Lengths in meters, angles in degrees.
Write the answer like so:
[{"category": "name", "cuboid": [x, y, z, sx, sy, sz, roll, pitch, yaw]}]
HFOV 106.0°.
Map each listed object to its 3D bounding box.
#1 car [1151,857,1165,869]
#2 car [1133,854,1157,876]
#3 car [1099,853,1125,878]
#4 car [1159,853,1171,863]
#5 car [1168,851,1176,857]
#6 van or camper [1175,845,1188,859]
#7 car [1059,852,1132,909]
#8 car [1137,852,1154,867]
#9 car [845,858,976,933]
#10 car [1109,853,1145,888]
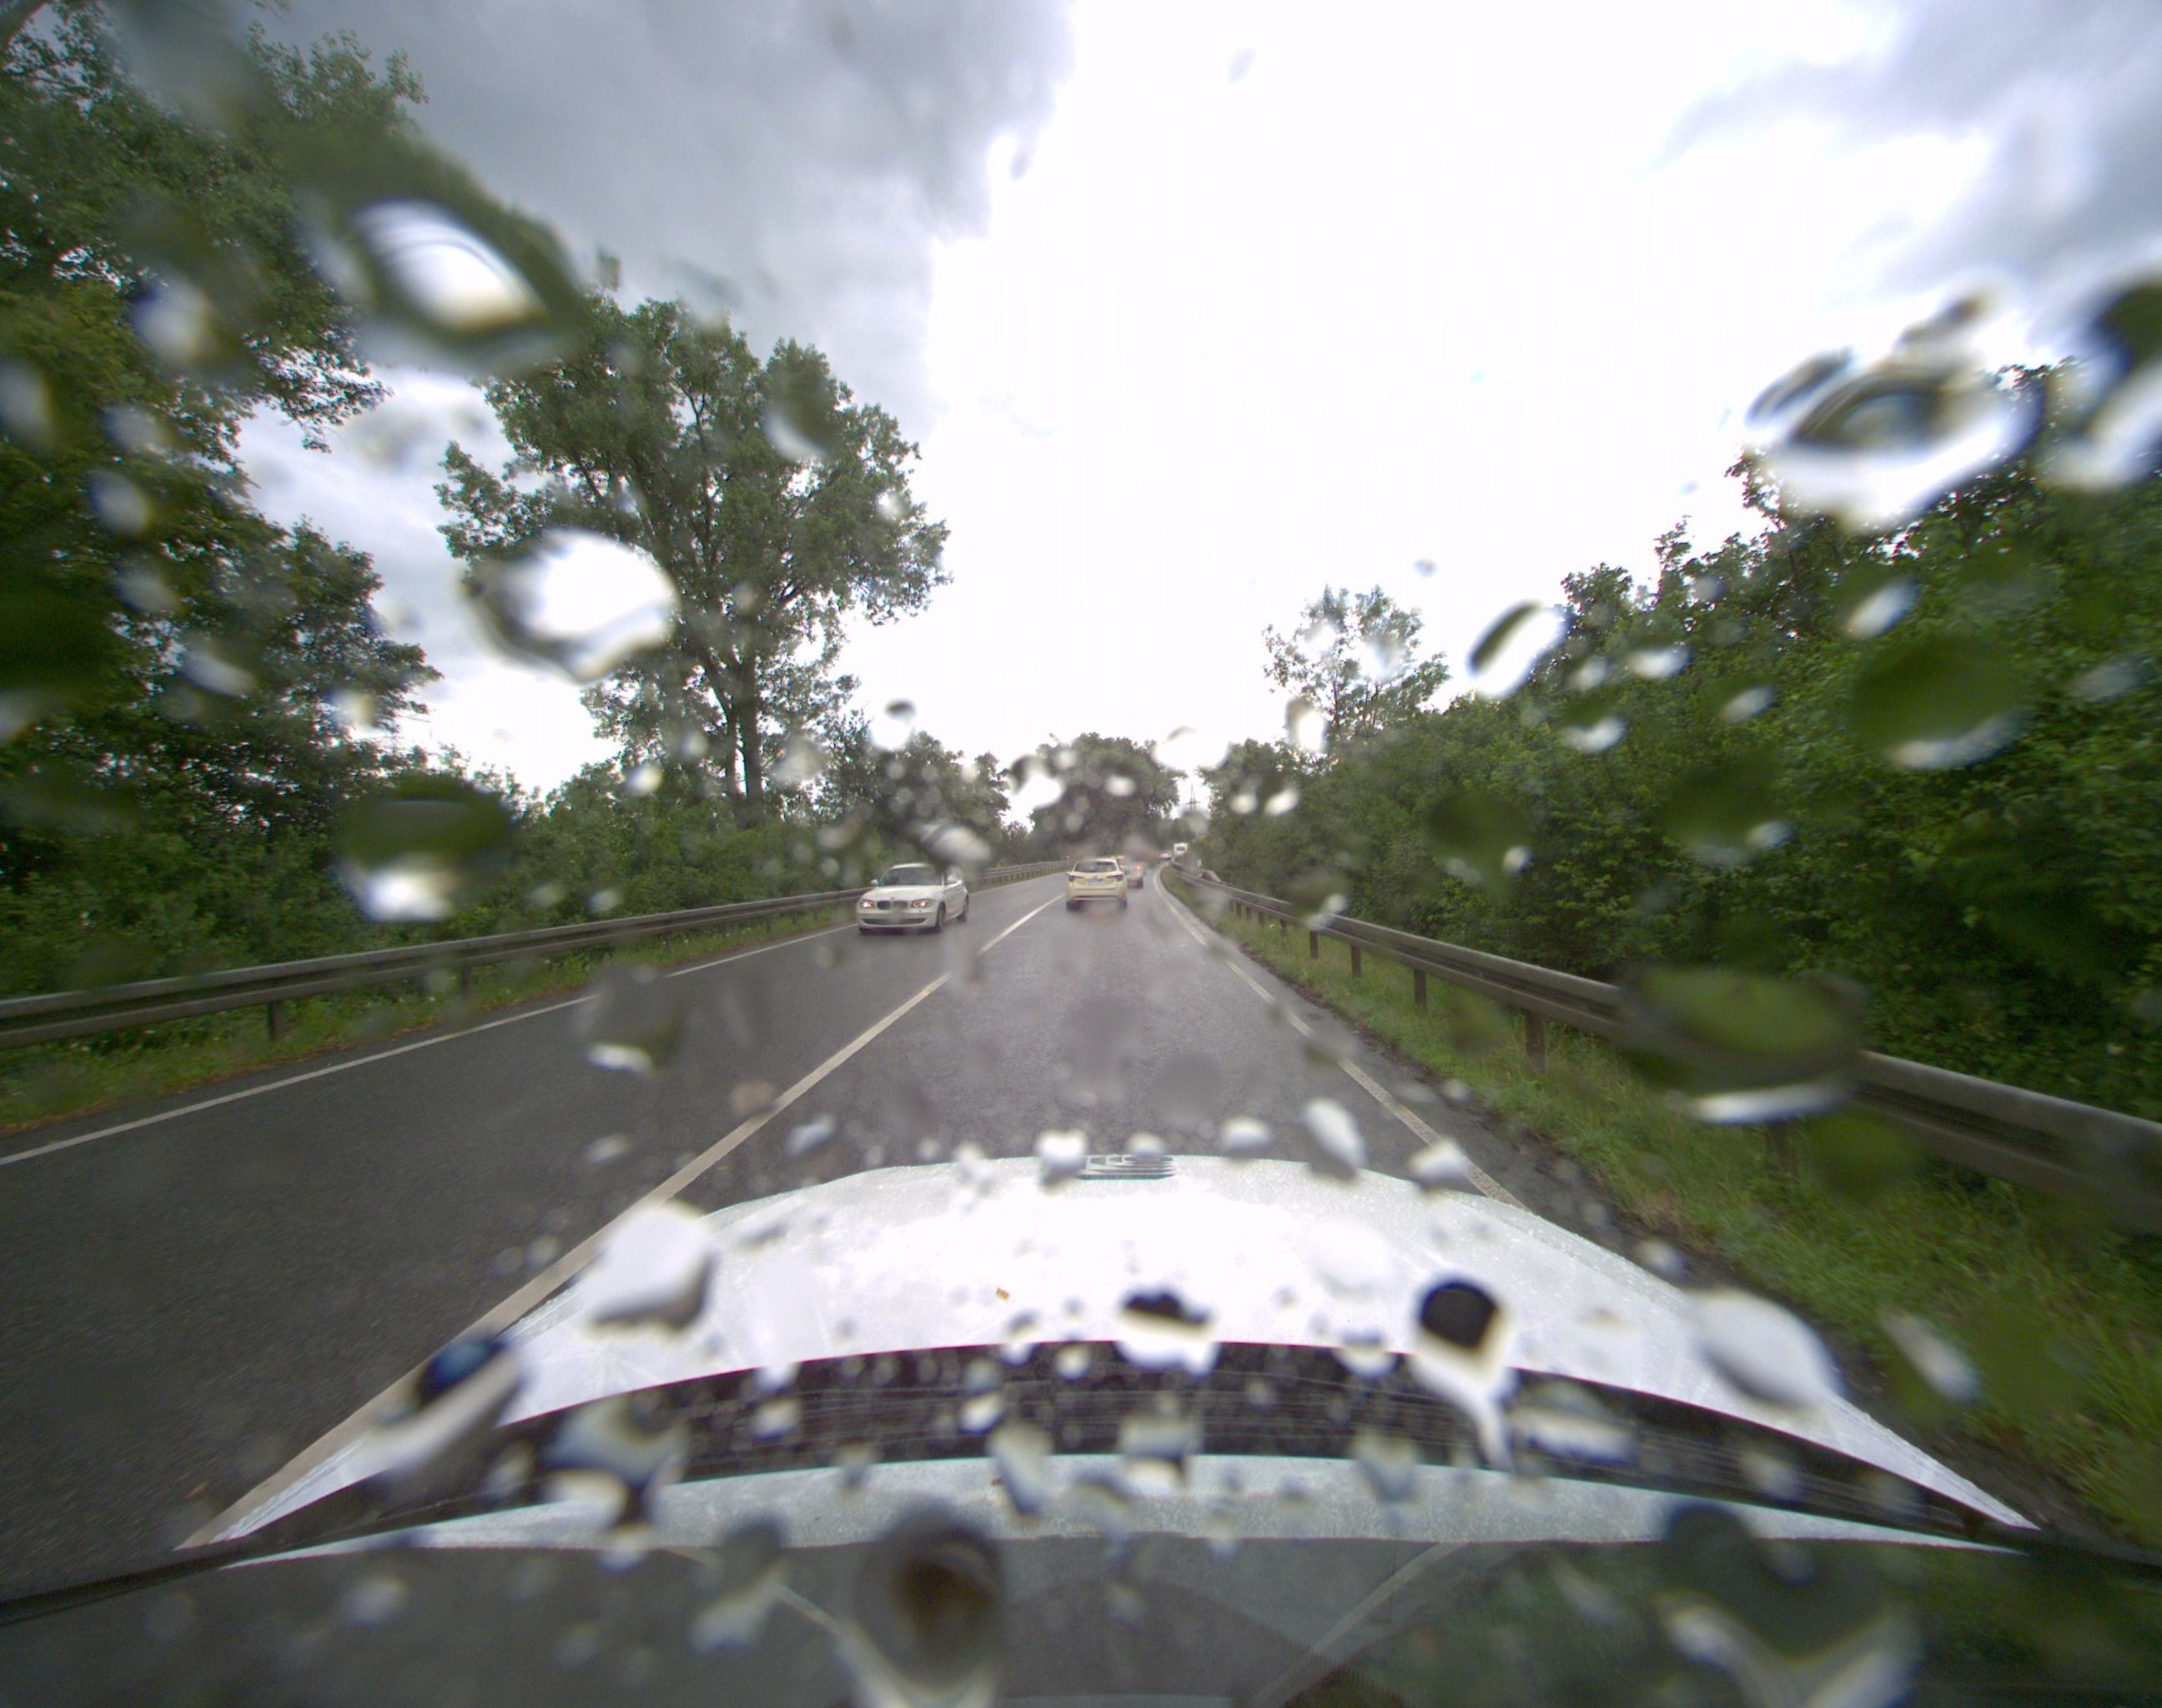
[{"category": "car", "cuboid": [9.223, 1.067, 97.670, 1.474, 1.309, 3.485, -1, 0, 9]}, {"category": "car", "cuboid": [4.526, 0.765, 57.882, 1.658, 1.464, 3.480, -1, 0, 4]}, {"category": "car", "cuboid": [1.921, 0.688, 49.993, 1.499, 1.437, 3.359, -1, 0, 4]}, {"category": "car", "cuboid": [11.792, 0.554, 114.324, 1.474, 1.309, 3.485, -1, 0, 9]}, {"category": "car", "cuboid": [19.684, -0.028, 175.878, 1.415, 1.355, 3.236, -1, -1, 11]}, {"category": "van or camper", "cuboid": [17.598, -0.323, 142.737, 1.981, 2.254, 4.011, -1, -1, 10]}, {"category": "car", "cuboid": [0.524, 0.741, 24.682, 1.897, 1.537, 4.167, -1, 0, 5]}, {"category": "car", "cuboid": [6.311, 0.574, 79.710, 1.652, 1.409, 3.909, -1, -1, 5]}, {"category": "car", "cuboid": [-3.620, 0.831, 18.064, 1.807, 1.454, 4.051, -1, 0, 4]}, {"category": "car", "cuboid": [2.249, 0.759, 39.098, 1.570, 1.572, 3.687, -1, 0, 6]}]
